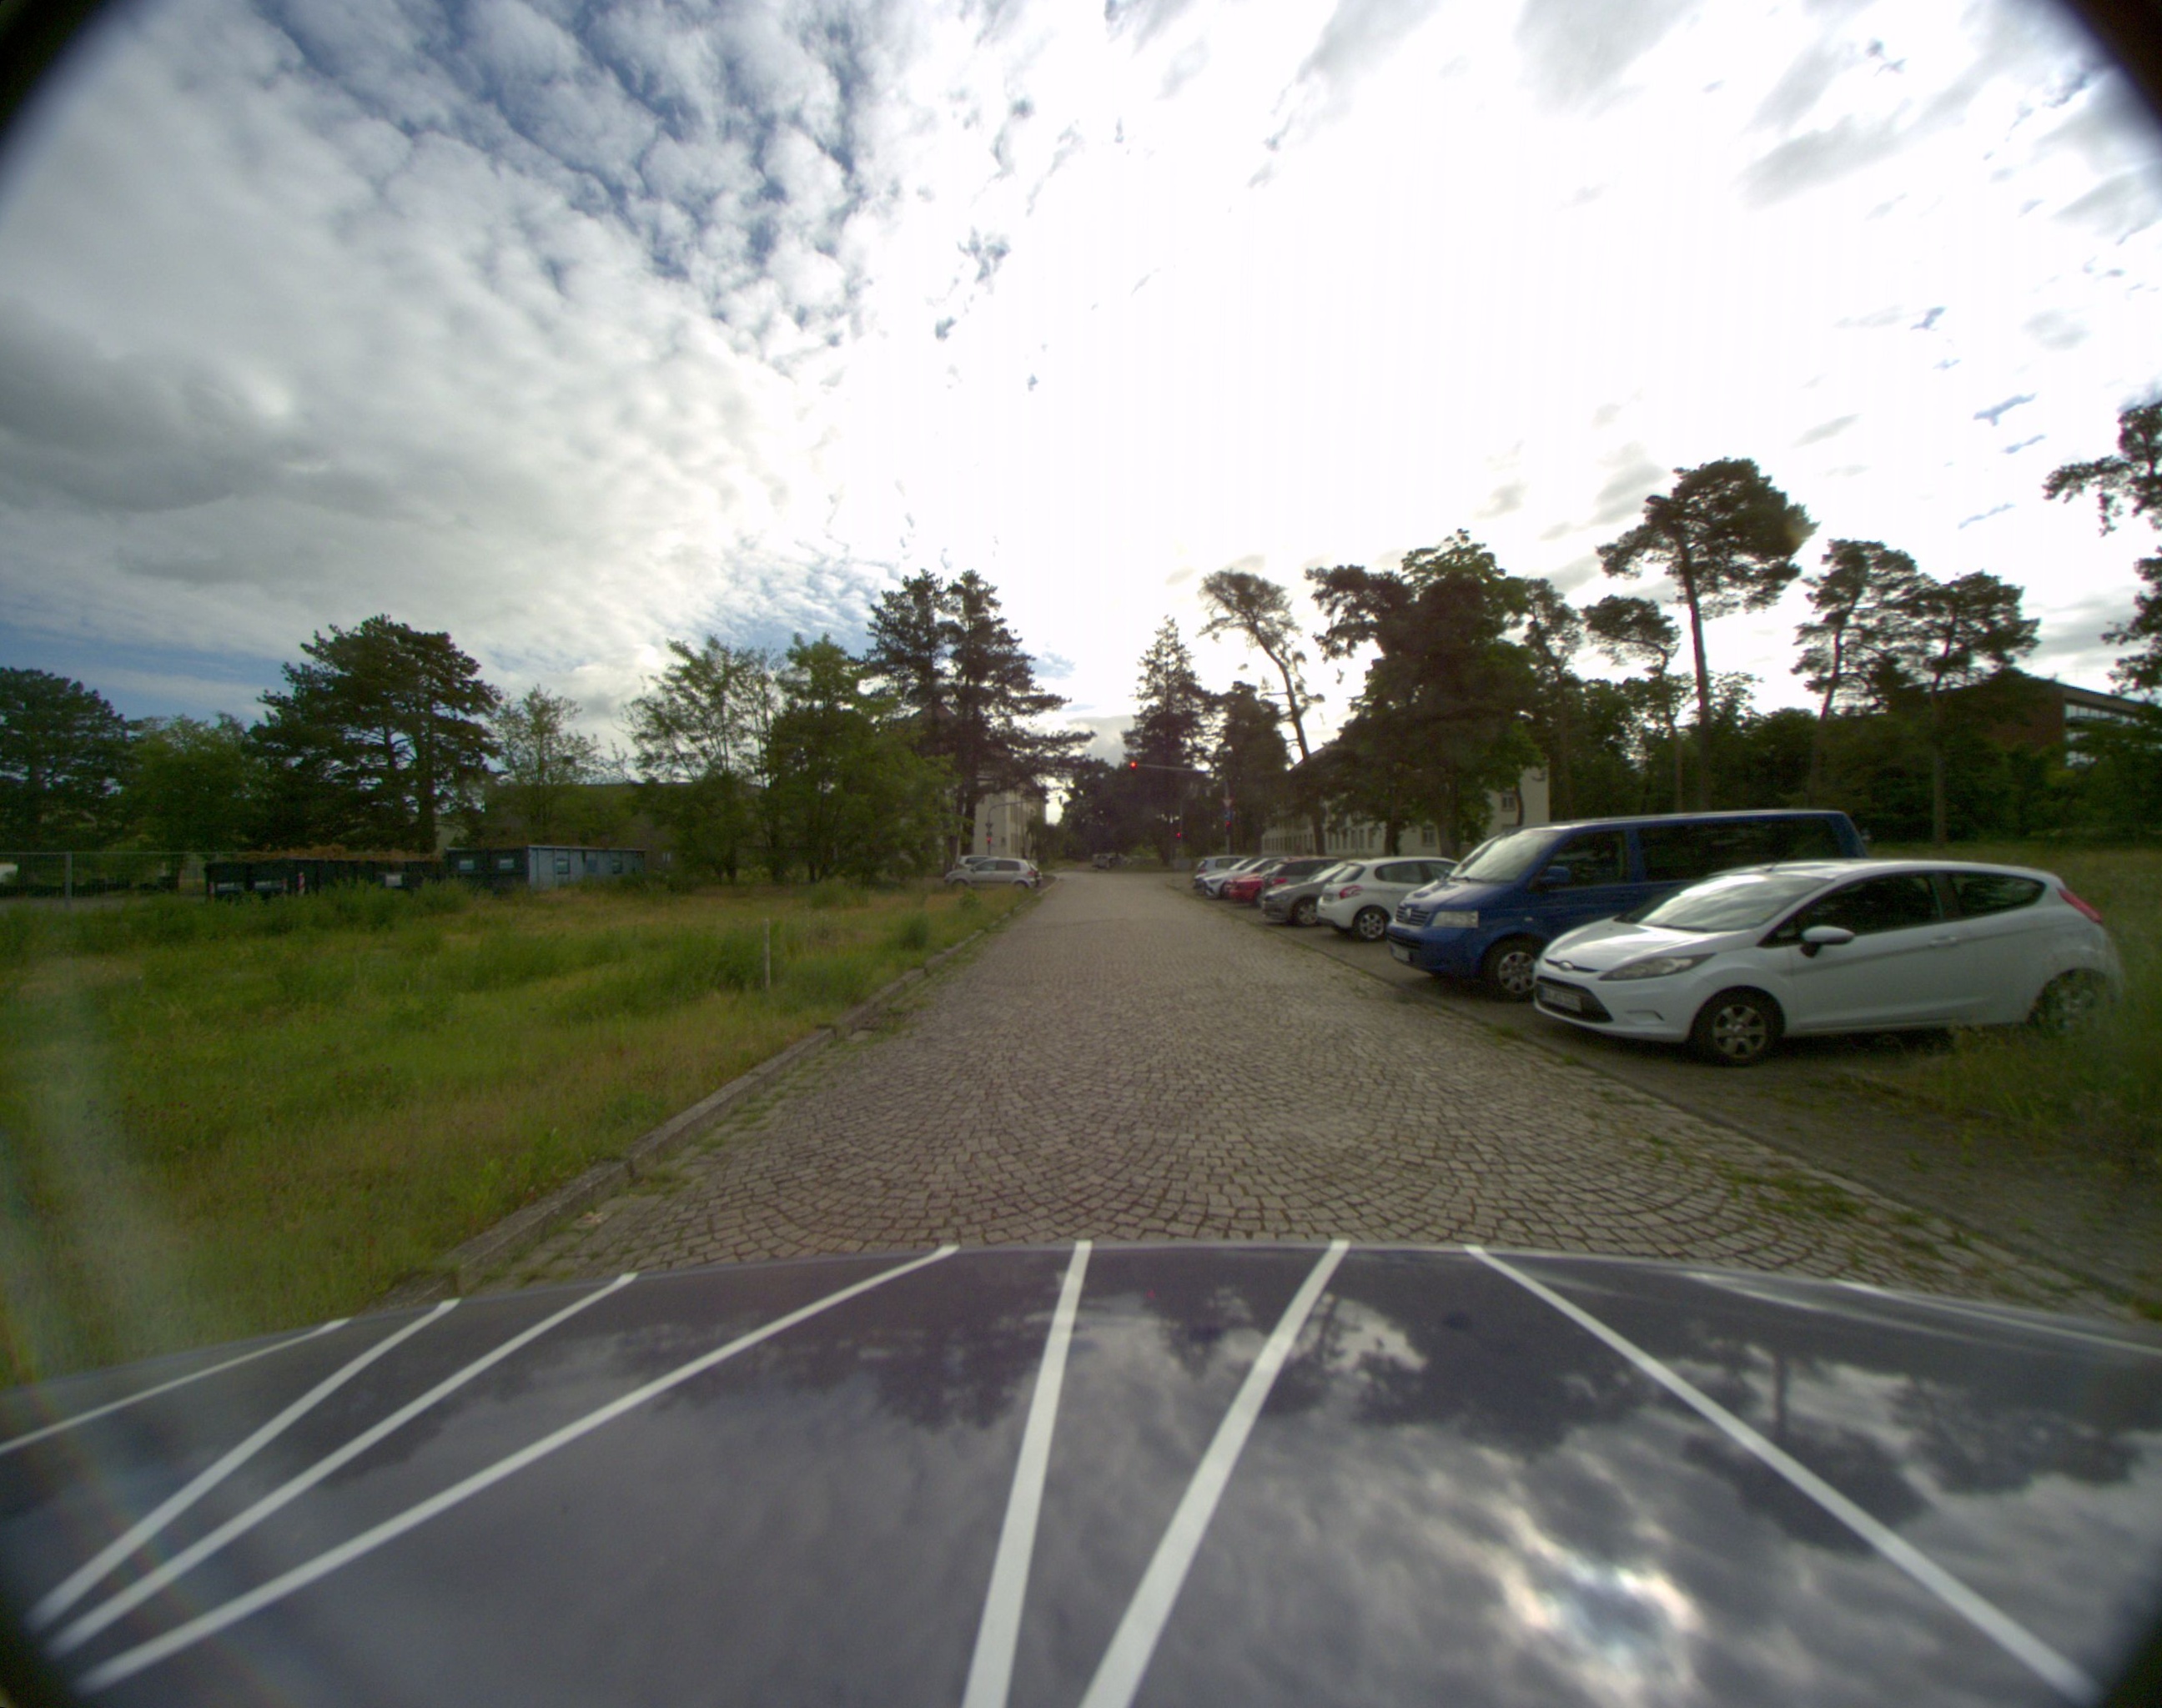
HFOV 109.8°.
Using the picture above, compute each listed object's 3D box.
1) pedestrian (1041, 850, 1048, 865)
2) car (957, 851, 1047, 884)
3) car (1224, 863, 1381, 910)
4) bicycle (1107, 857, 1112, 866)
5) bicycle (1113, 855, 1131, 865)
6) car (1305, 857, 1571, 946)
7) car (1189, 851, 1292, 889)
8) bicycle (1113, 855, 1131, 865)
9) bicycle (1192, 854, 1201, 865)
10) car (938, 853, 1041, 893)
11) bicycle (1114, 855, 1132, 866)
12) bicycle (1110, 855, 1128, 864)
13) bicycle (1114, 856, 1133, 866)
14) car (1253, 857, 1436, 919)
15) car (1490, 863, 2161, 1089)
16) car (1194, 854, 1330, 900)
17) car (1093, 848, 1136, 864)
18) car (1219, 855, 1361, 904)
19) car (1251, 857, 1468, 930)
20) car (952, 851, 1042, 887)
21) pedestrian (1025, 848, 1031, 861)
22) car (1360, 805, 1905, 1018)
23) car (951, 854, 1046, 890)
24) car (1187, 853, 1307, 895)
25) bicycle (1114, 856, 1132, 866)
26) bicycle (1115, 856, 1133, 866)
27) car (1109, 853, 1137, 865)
[{"bbox_3d":[-4.635,0.480,96.335,0.589,1.926,0.792,-1,1,-32],"label":"pedestrian"},{"bbox_3d":[-4.078,0.708,39.893,4.504,1.556,1.905,2,0,-1],"label":"car"},{"bbox_3d":[6.477,0.931,22.565,4.176,1.259,1.831,-1,0,2],"label":"car"},{"bbox_3d":[2.911,0.796,78.092,0.459,0.903,1.663,-1,0,5],"label":"bicycle"},{"bbox_3d":[4.548,0.701,84.279,1.950,1.059,0.562,-1,1,-1],"label":"bicycle"},{"bbox_3d":[6.472,0.830,14.137,4.077,1.488,1.846,-1,0,2],"label":"car"},{"bbox_3d":[6.803,0.682,32.703,3.997,1.534,1.905,-1,0,0],"label":"car"},{"bbox_3d":[4.536,0.693,84.820,1.950,1.059,0.562,-1,1,-1],"label":"bicycle"},{"bbox_3d":[10.469,0.498,68.763,0.294,0.911,1.052,-1,0,-20],"label":"bicycle"},{"bbox_3d":[-3.769,0.777,31.906,4.084,1.506,1.804,2,0,-1],"label":"car"},{"bbox_3d":[4.539,0.719,82.036,1.950,1.104,0.562,-1,1,-1],"label":"bicycle"},{"bbox_3d":[4.402,0.643,88.081,1.950,1.059,0.562,-1,1,-1],"label":"bicycle"},{"bbox_3d":[4.631,0.733,82.563,1.950,1.059,0.562,-1,1,-1],"label":"bicycle"},{"bbox_3d":[6.783,0.857,19.901,4.176,1.473,1.846,-1,0,2],"label":"car"},{"bbox_3d":[5.940,0.872,6.265,4.177,1.501,1.781,-1,0,-1],"label":"car"},{"bbox_3d":[6.405,0.799,27.236,4.385,1.499,1.935,-1,0,-1],"label":"car"},{"bbox_3d":[4.375,0.319,99.916,5.366,1.987,2.289,-1,0,-7],"label":"car"},{"bbox_3d":[6.769,0.813,24.931,4.176,1.468,1.864,-1,0,1],"label":"car"},{"bbox_3d":[6.083,0.837,16.987,4.175,1.483,1.865,-1,0,3],"label":"car"},{"bbox_3d":[-4.073,0.716,37.340,4.251,1.587,1.885,2,0,-2],"label":"car"},{"bbox_3d":[-6.759,0.057,97.144,0.568,1.691,0.532,-1,1,5],"label":"pedestrian"},{"bbox_3d":[6.044,0.588,8.849,4.794,2.110,2.115,-1,0,0],"label":"car"},{"bbox_3d":[-3.701,0.799,34.615,4.084,1.444,1.885,2,0,-1],"label":"car"},{"bbox_3d":[6.480,0.752,29.979,4.261,1.539,1.935,-1,0,-2],"label":"car"},{"bbox_3d":[4.473,0.752,81.482,1.898,1.059,0.616,-1,1,0],"label":"bicycle"},{"bbox_3d":[4.729,0.721,83.208,1.950,1.059,0.562,-1,1,-1],"label":"bicycle"},{"bbox_3d":[5.276,0.568,96.263,3.439,1.440,1.913,-1,0,0],"label":"car"}]
